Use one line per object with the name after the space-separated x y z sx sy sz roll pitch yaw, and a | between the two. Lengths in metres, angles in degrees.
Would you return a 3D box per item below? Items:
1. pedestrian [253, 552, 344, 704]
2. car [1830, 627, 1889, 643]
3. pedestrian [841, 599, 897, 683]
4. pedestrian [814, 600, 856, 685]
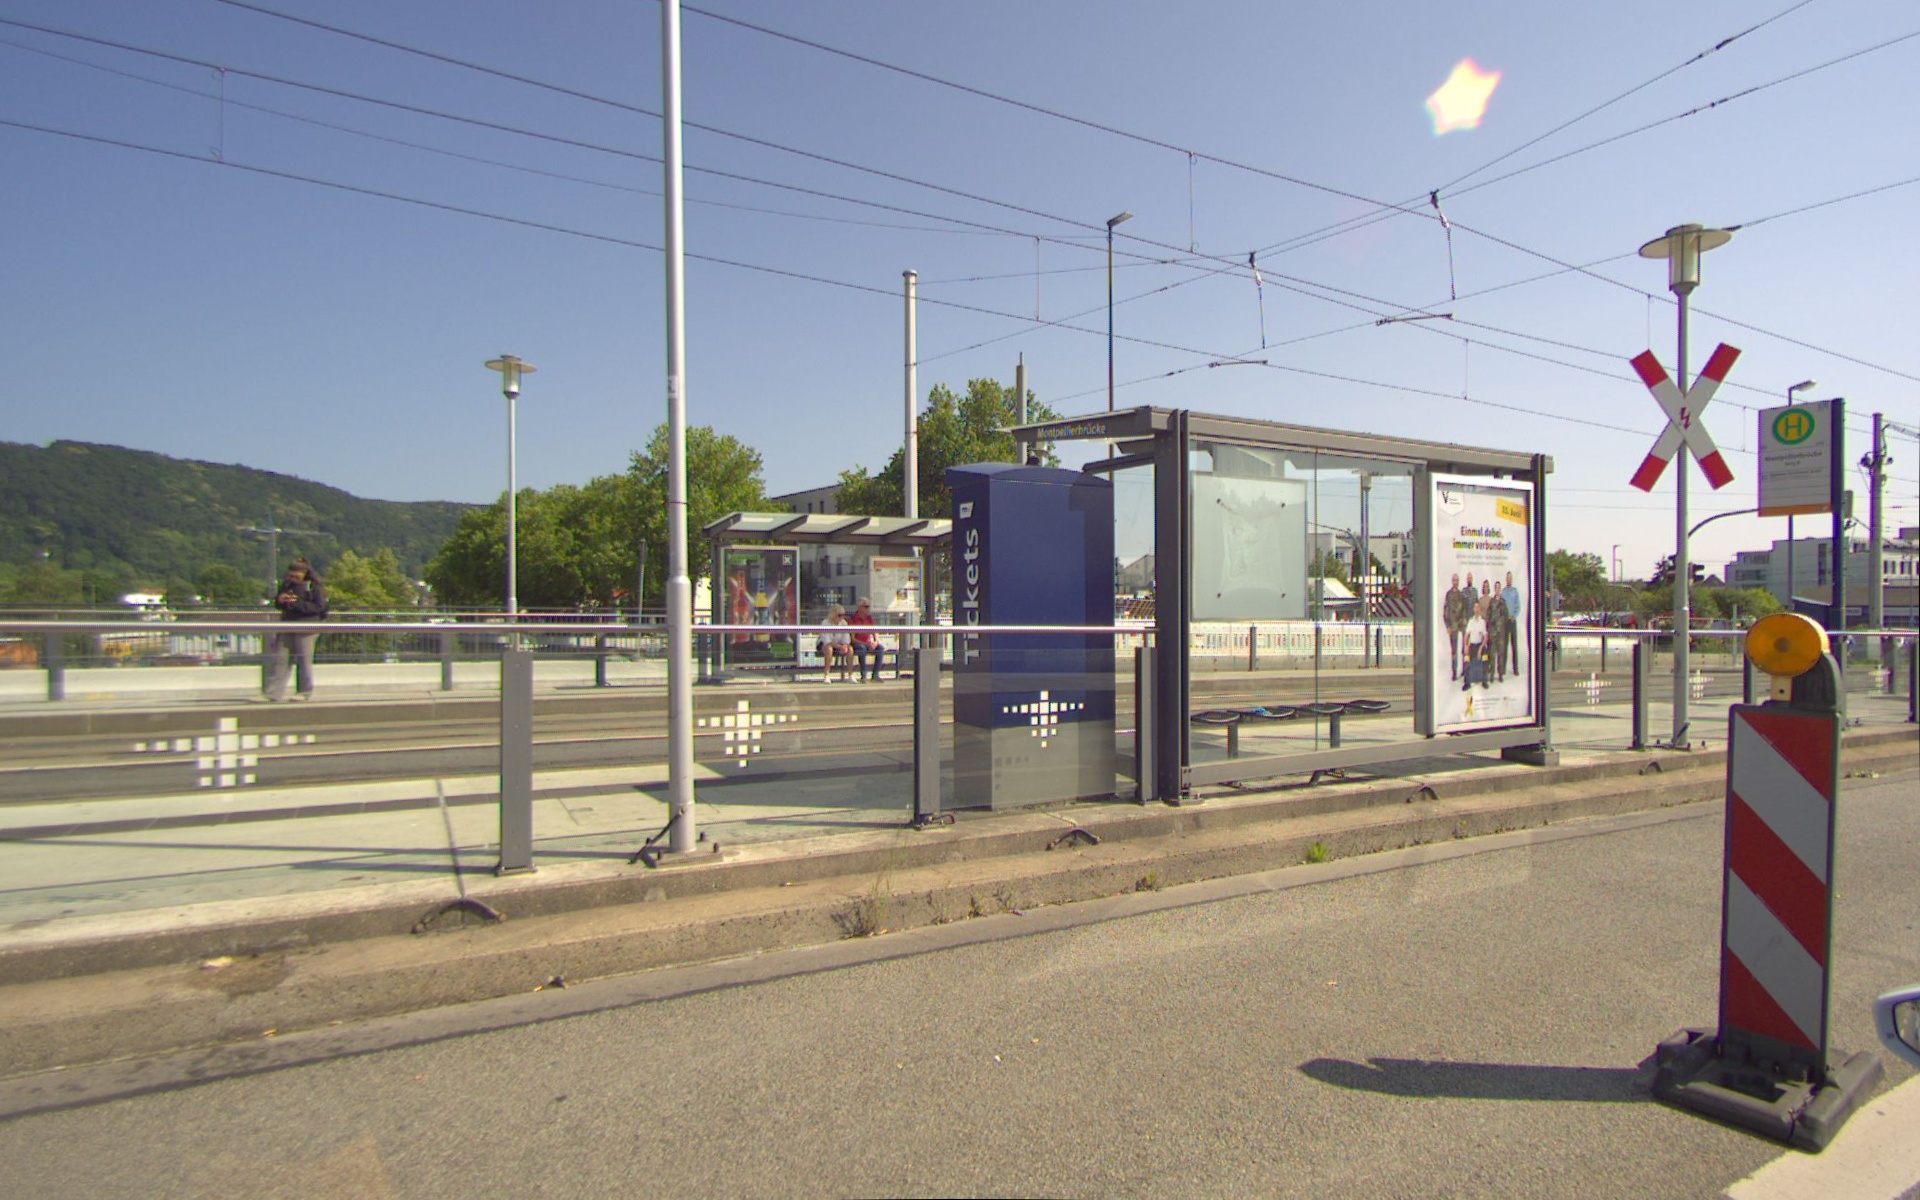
-7.598 0.314 11.562 0.728 1.676 0.659 0 0 -20 | pedestrian
90.068 3.482 100.612 3.921 1.558 1.784 -1 -2 18 | car
-1.450 0.641 15.955 0.688 1.291 0.645 0 0 -27 | pedestrian
-1.955 0.647 15.679 0.447 1.291 0.645 0 0 -27 | pedestrian
